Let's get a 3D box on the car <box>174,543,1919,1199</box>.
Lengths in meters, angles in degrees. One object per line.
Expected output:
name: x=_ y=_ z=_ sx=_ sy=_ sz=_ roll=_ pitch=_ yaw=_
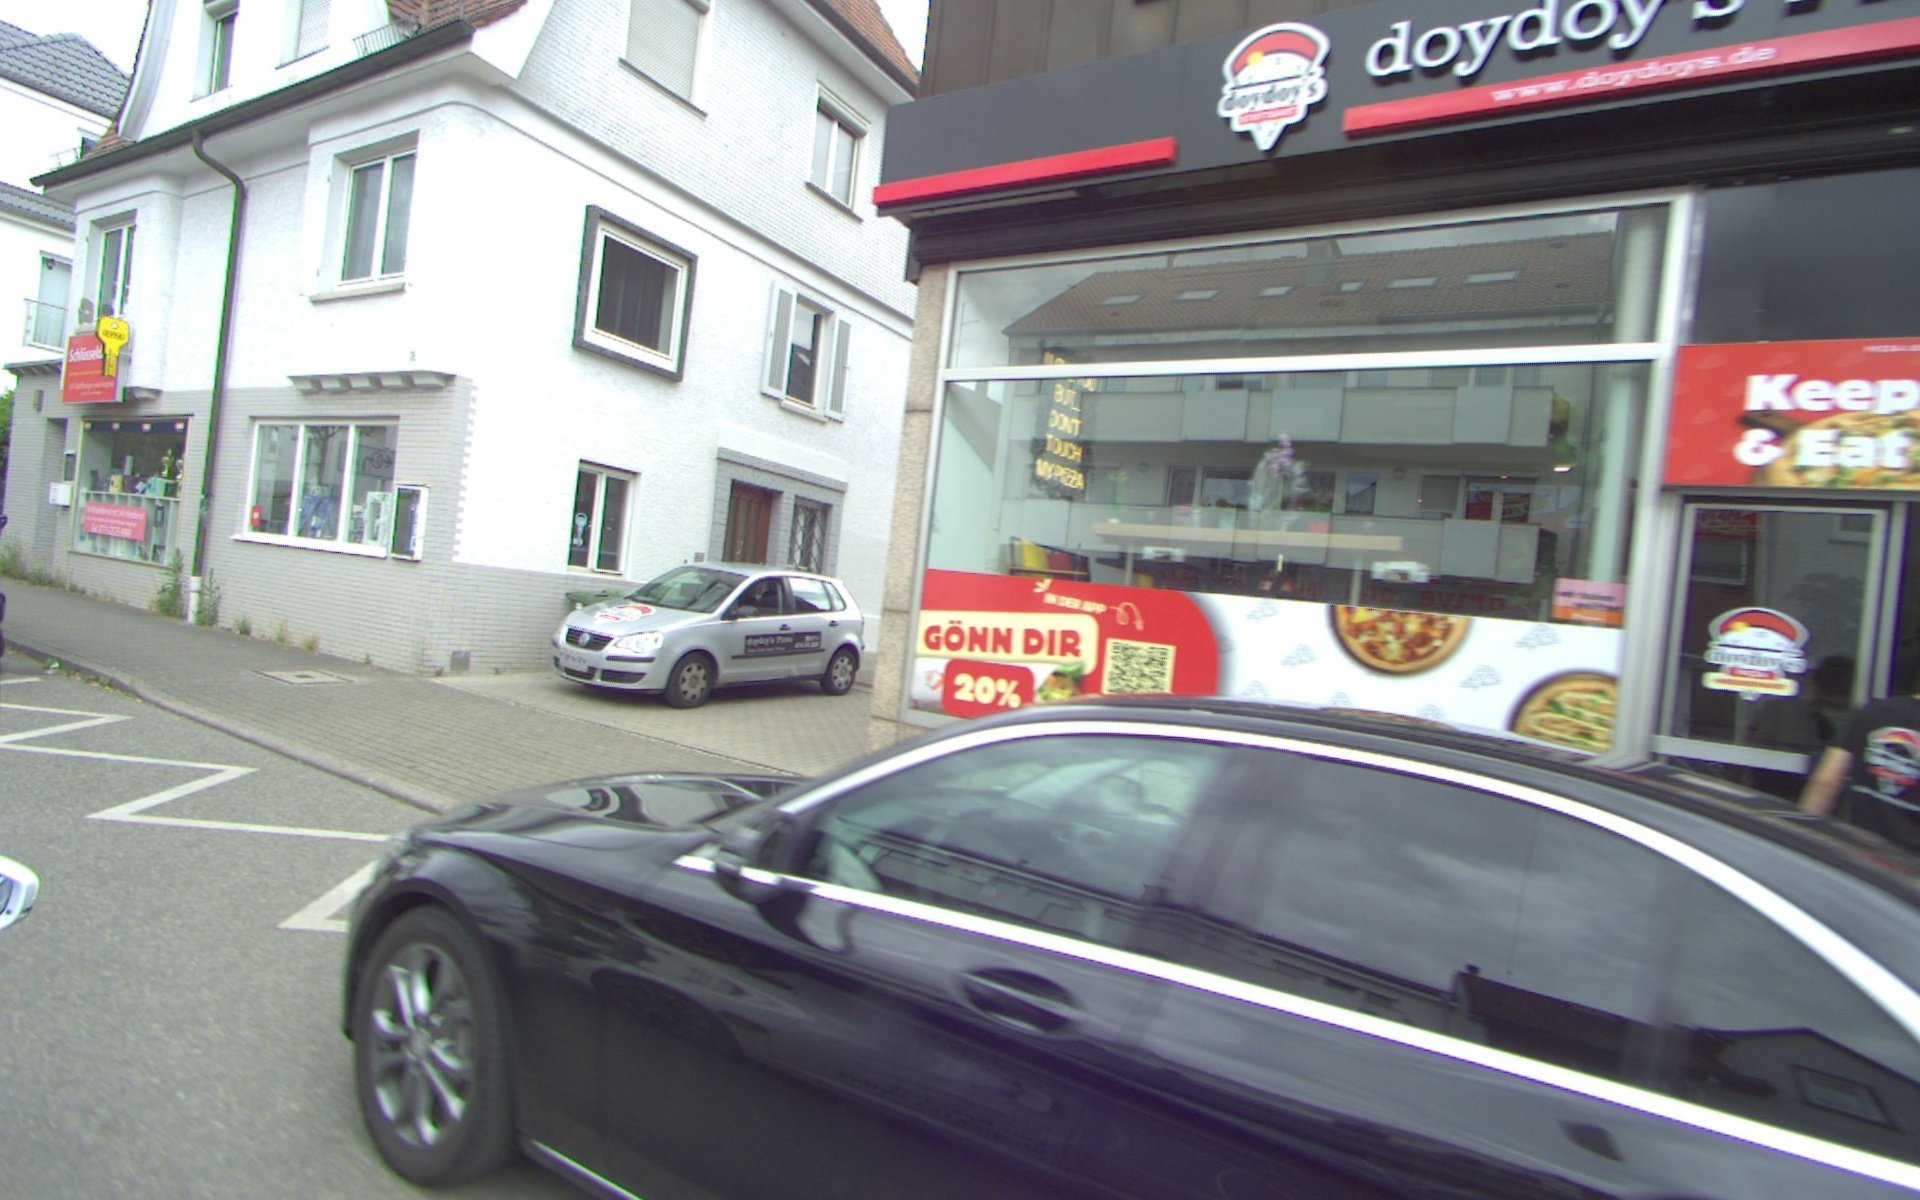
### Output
car: x=0.223 y=0.833 z=2.448 sx=4.489 sy=1.425 sz=1.828 roll=6 pitch=-1 yaw=32

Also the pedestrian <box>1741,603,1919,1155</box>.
pedestrian: x=3.363 y=0.938 z=3.512 sx=0.729 sy=1.763 sz=0.643 roll=6 pitch=2 yaw=27

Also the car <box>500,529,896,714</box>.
car: x=-2.756 y=0.233 z=11.533 sx=1.825 sy=1.609 sz=4.198 roll=6 pitch=2 yaw=32

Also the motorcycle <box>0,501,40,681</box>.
motorcycle: x=-8.190 y=-0.117 z=8.253 sx=0.645 sy=1.457 sz=2.443 roll=7 pitch=-1 yaw=-38
